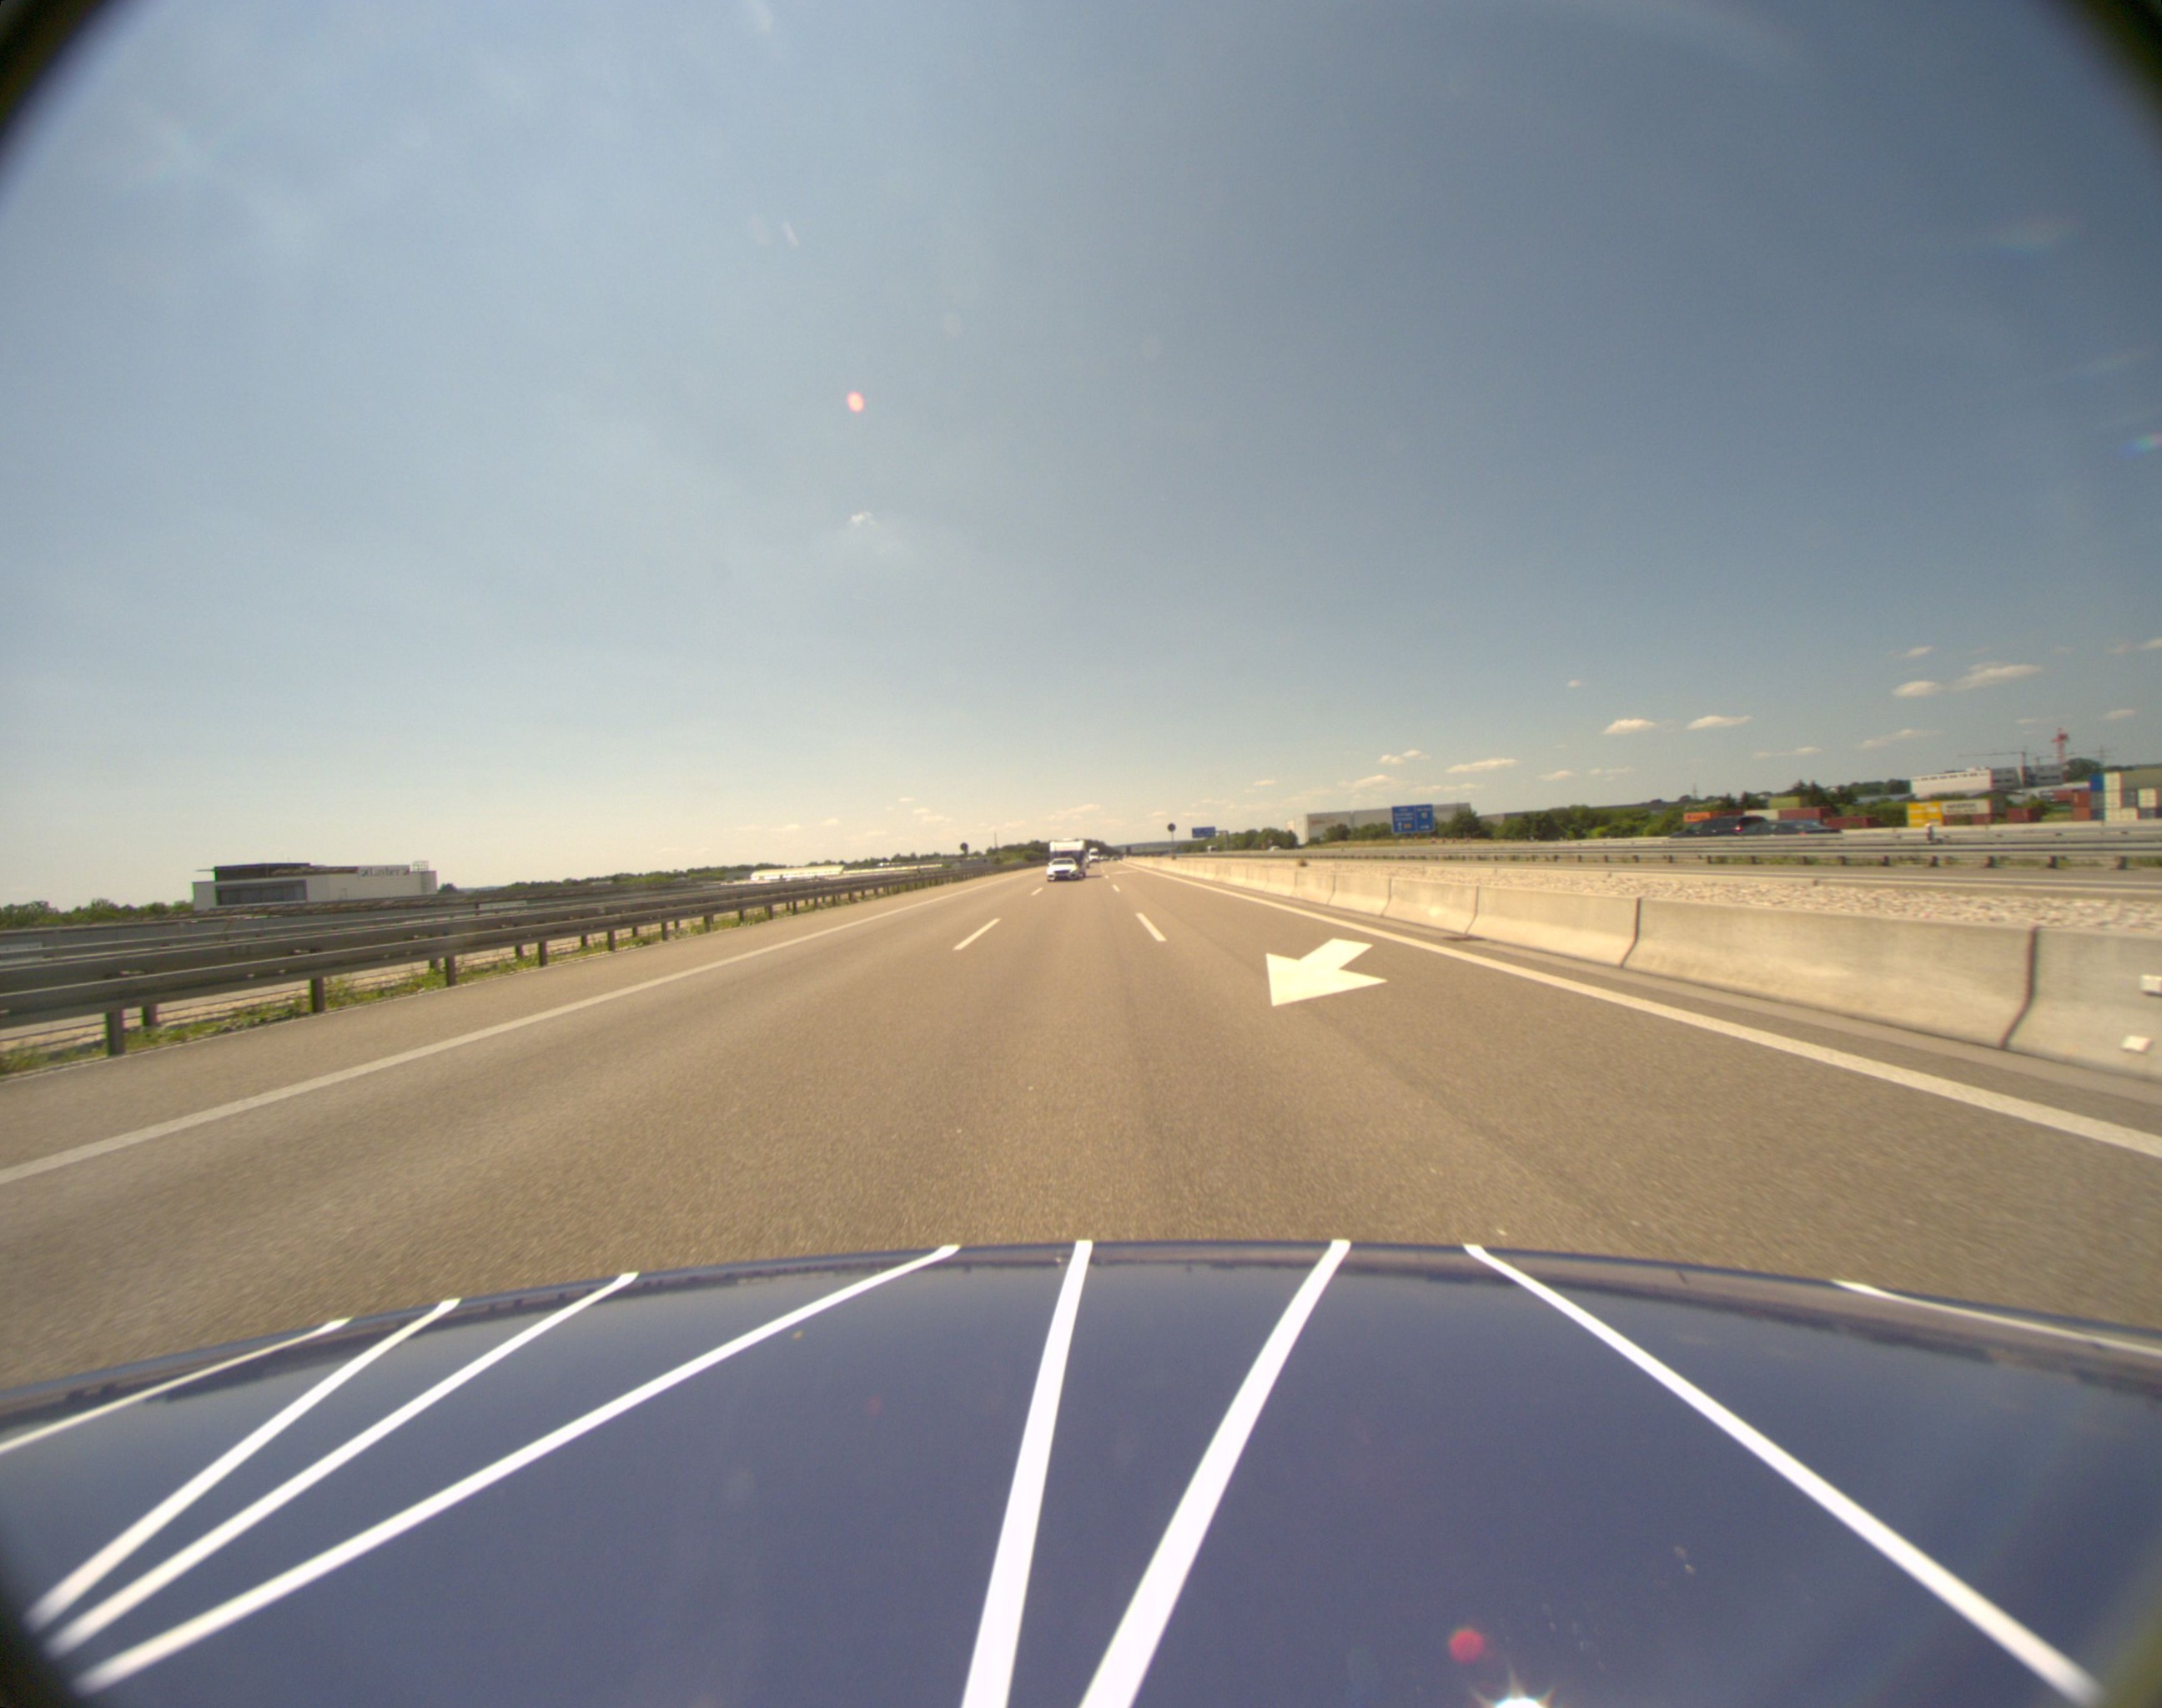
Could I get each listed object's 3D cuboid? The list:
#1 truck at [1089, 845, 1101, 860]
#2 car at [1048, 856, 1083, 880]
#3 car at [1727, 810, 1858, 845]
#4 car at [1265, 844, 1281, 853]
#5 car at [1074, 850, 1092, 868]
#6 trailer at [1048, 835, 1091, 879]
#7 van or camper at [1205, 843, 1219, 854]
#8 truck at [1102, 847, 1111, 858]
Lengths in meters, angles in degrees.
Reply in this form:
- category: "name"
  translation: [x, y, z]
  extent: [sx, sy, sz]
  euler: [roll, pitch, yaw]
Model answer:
- category: "truck"
  translation: [2.631, -0.234, 147.780]
  extent: [2.168, 2.797, 6.490]
  euler: [-3, 0, 0]
- category: "car"
  translation: [-0.917, 0.851, 46.778]
  extent: [1.872, 1.352, 3.673]
  euler: [-1, 0, 2]
- category: "car"
  translation: [32.214, -1.156, 34.614]
  extent: [1.998, 1.371, 4.363]
  euler: [-2, 0, 3]
- category: "car"
  translation: [31.332, -0.844, 124.332]
  extent: [1.567, 1.371, 4.362]
  euler: [-2, 0, 1]
- category: "car"
  translation: [0.253, 0.533, 91.008]
  extent: [1.998, 2.002, 3.999]
  euler: [-2, 1, 0]
- category: "trailer"
  translation: [-0.678, 0.185, 52.185]
  extent: [2.500, 2.686, 7.155]
  euler: [-2, 0, 2]
- category: "van or camper"
  translation: [35.101, -1.386, 203.553]
  extent: [2.552, 2.805, 7.542]
  euler: [-2, 0, 1]
- category: "truck"
  translation: [6.476, -0.354, 194.639]
  extent: [2.168, 2.797, 6.491]
  euler: [-3, 0, 3]
